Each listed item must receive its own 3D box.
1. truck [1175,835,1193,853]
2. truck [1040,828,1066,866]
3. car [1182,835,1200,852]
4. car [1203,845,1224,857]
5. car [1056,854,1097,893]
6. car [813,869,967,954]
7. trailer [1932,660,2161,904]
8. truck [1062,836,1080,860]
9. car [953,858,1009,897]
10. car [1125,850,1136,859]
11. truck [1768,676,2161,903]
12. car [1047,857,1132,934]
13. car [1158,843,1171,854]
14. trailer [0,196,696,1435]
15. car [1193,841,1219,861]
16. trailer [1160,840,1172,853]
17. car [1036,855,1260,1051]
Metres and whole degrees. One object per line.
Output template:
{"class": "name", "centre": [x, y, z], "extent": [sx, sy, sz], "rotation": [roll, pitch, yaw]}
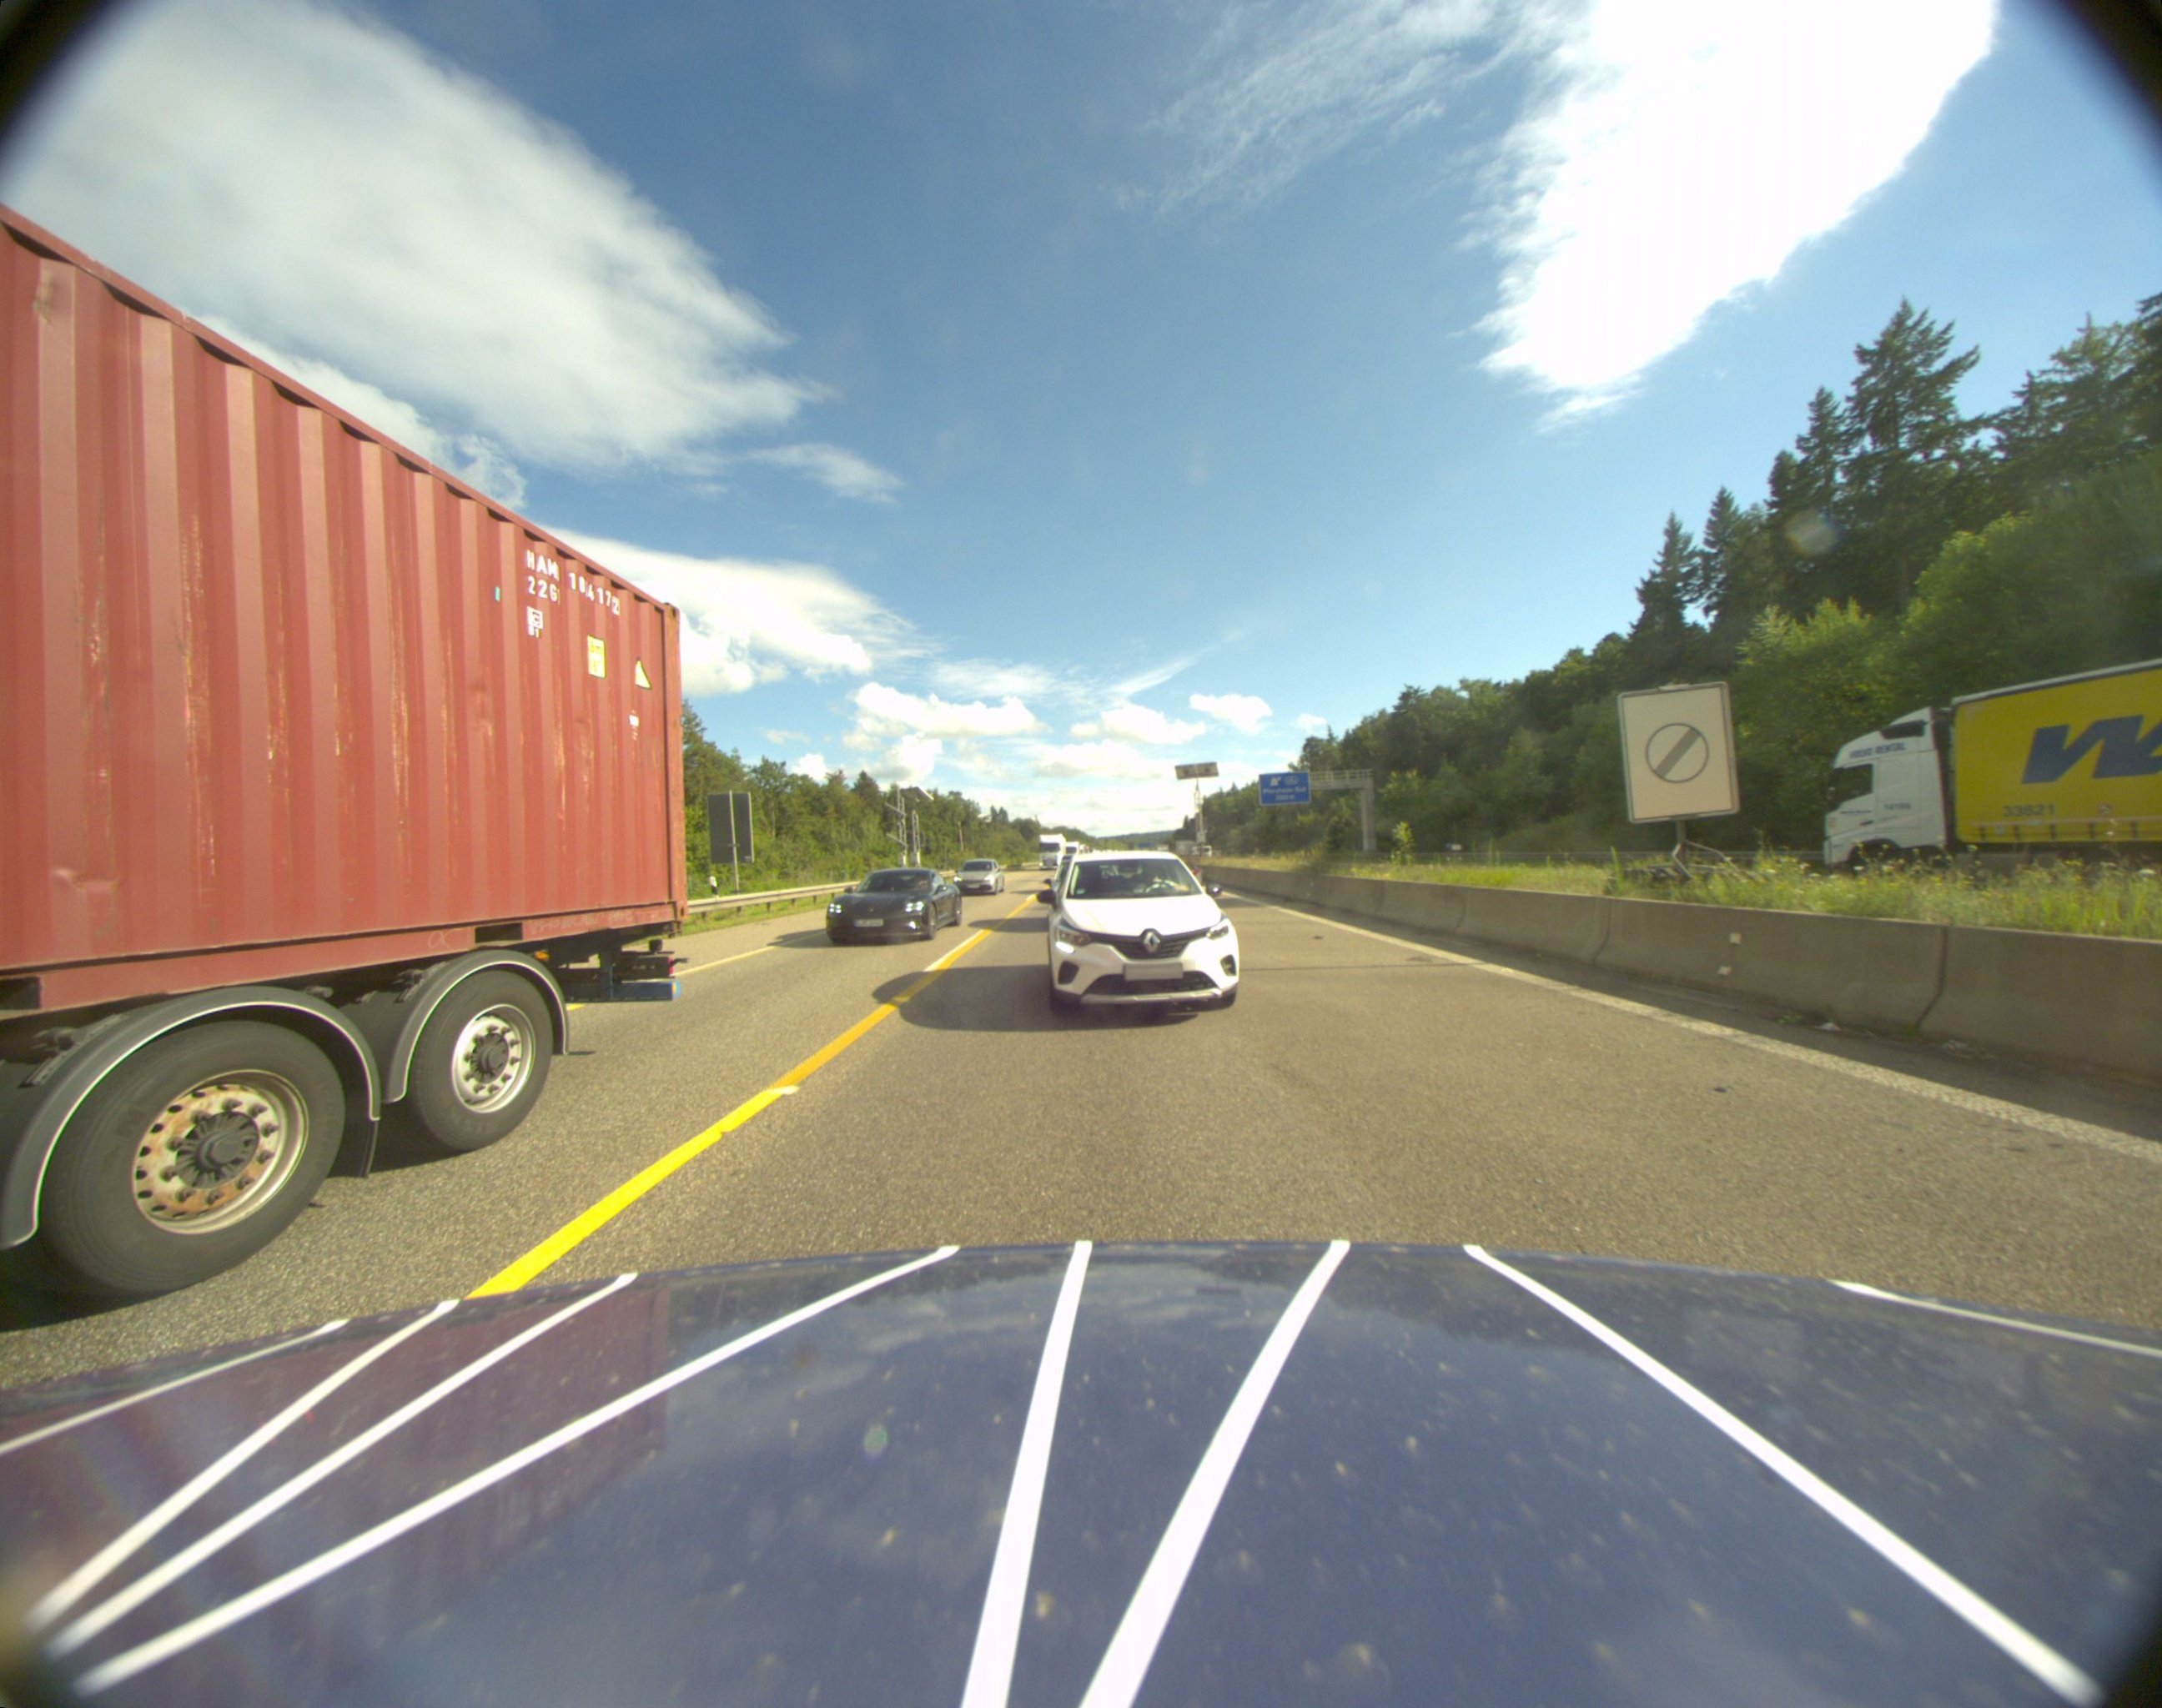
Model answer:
{"class": "truck", "centre": [23.567, -2.294, 174.478], "extent": [2.807, 3.969, 10.185], "rotation": [-2, 0, 1]}
{"class": "truck", "centre": [-3.227, -0.755, 88.186], "extent": [2.641, 4.092, 8.193], "rotation": [-2, 0, -2]}
{"class": "car", "centre": [21.916, -2.099, 151.695], "extent": [2.493, 3.351, 7.451], "rotation": [-2, 1, 0]}
{"class": "car", "centre": [17.146, -0.426, 98.281], "extent": [1.963, 1.355, 4.287], "rotation": [-2, 1, 1]}
{"class": "car", "centre": [-0.130, 0.807, 33.165], "extent": [1.633, 1.548, 3.754], "rotation": [-2, 0, 1]}
{"class": "car", "centre": [-3.736, 1.066, 15.783], "extent": [1.933, 1.342, 4.477], "rotation": [-2, 0, 1]}
{"class": "trailer", "centre": [18.680, -1.151, 8.483], "extent": [2.834, 3.900, 13.938], "rotation": [-2, 1, 1]}
{"class": "truck", "centre": [-1.731, -1.007, 137.467], "extent": [2.640, 4.092, 8.196], "rotation": [-2, 0, 3]}
{"class": "car", "centre": [-4.273, 0.978, 32.996], "extent": [1.762, 1.471, 3.967], "rotation": [-2, 1, 1]}
{"class": "car", "centre": [8.842, 0.081, 136.819], "extent": [1.783, 1.379, 4.310], "rotation": [-2, 1, 1]}
{"class": "truck", "centre": [18.802, -1.181, 16.233], "extent": [2.834, 3.886, 5.948], "rotation": [-2, 1, 1]}
{"class": "car", "centre": [0.202, 0.848, 17.380], "extent": [1.692, 1.471, 3.754], "rotation": [-2, 1, 1]}
{"class": "car", "centre": [19.331, -1.278, 176.467], "extent": [2.165, 2.437, 6.330], "rotation": [-3, 1, 1]}
{"class": "trailer", "centre": [-4.521, -0.098, 0.146], "extent": [2.478, 3.753, 12.135], "rotation": [-2, 0, 0]}
{"class": "car", "centre": [13.488, -0.343, 82.398], "extent": [1.998, 2.002, 4.831], "rotation": [-2, 1, 1]}
{"class": "trailer", "centre": [26.643, -2.479, 237.786], "extent": [2.797, 3.901, 8.487], "rotation": [-2, 1, 1]}
{"class": "car", "centre": [0.497, 0.836, 8.361], "extent": [1.841, 1.528, 3.881], "rotation": [-2, 1, -2]}
